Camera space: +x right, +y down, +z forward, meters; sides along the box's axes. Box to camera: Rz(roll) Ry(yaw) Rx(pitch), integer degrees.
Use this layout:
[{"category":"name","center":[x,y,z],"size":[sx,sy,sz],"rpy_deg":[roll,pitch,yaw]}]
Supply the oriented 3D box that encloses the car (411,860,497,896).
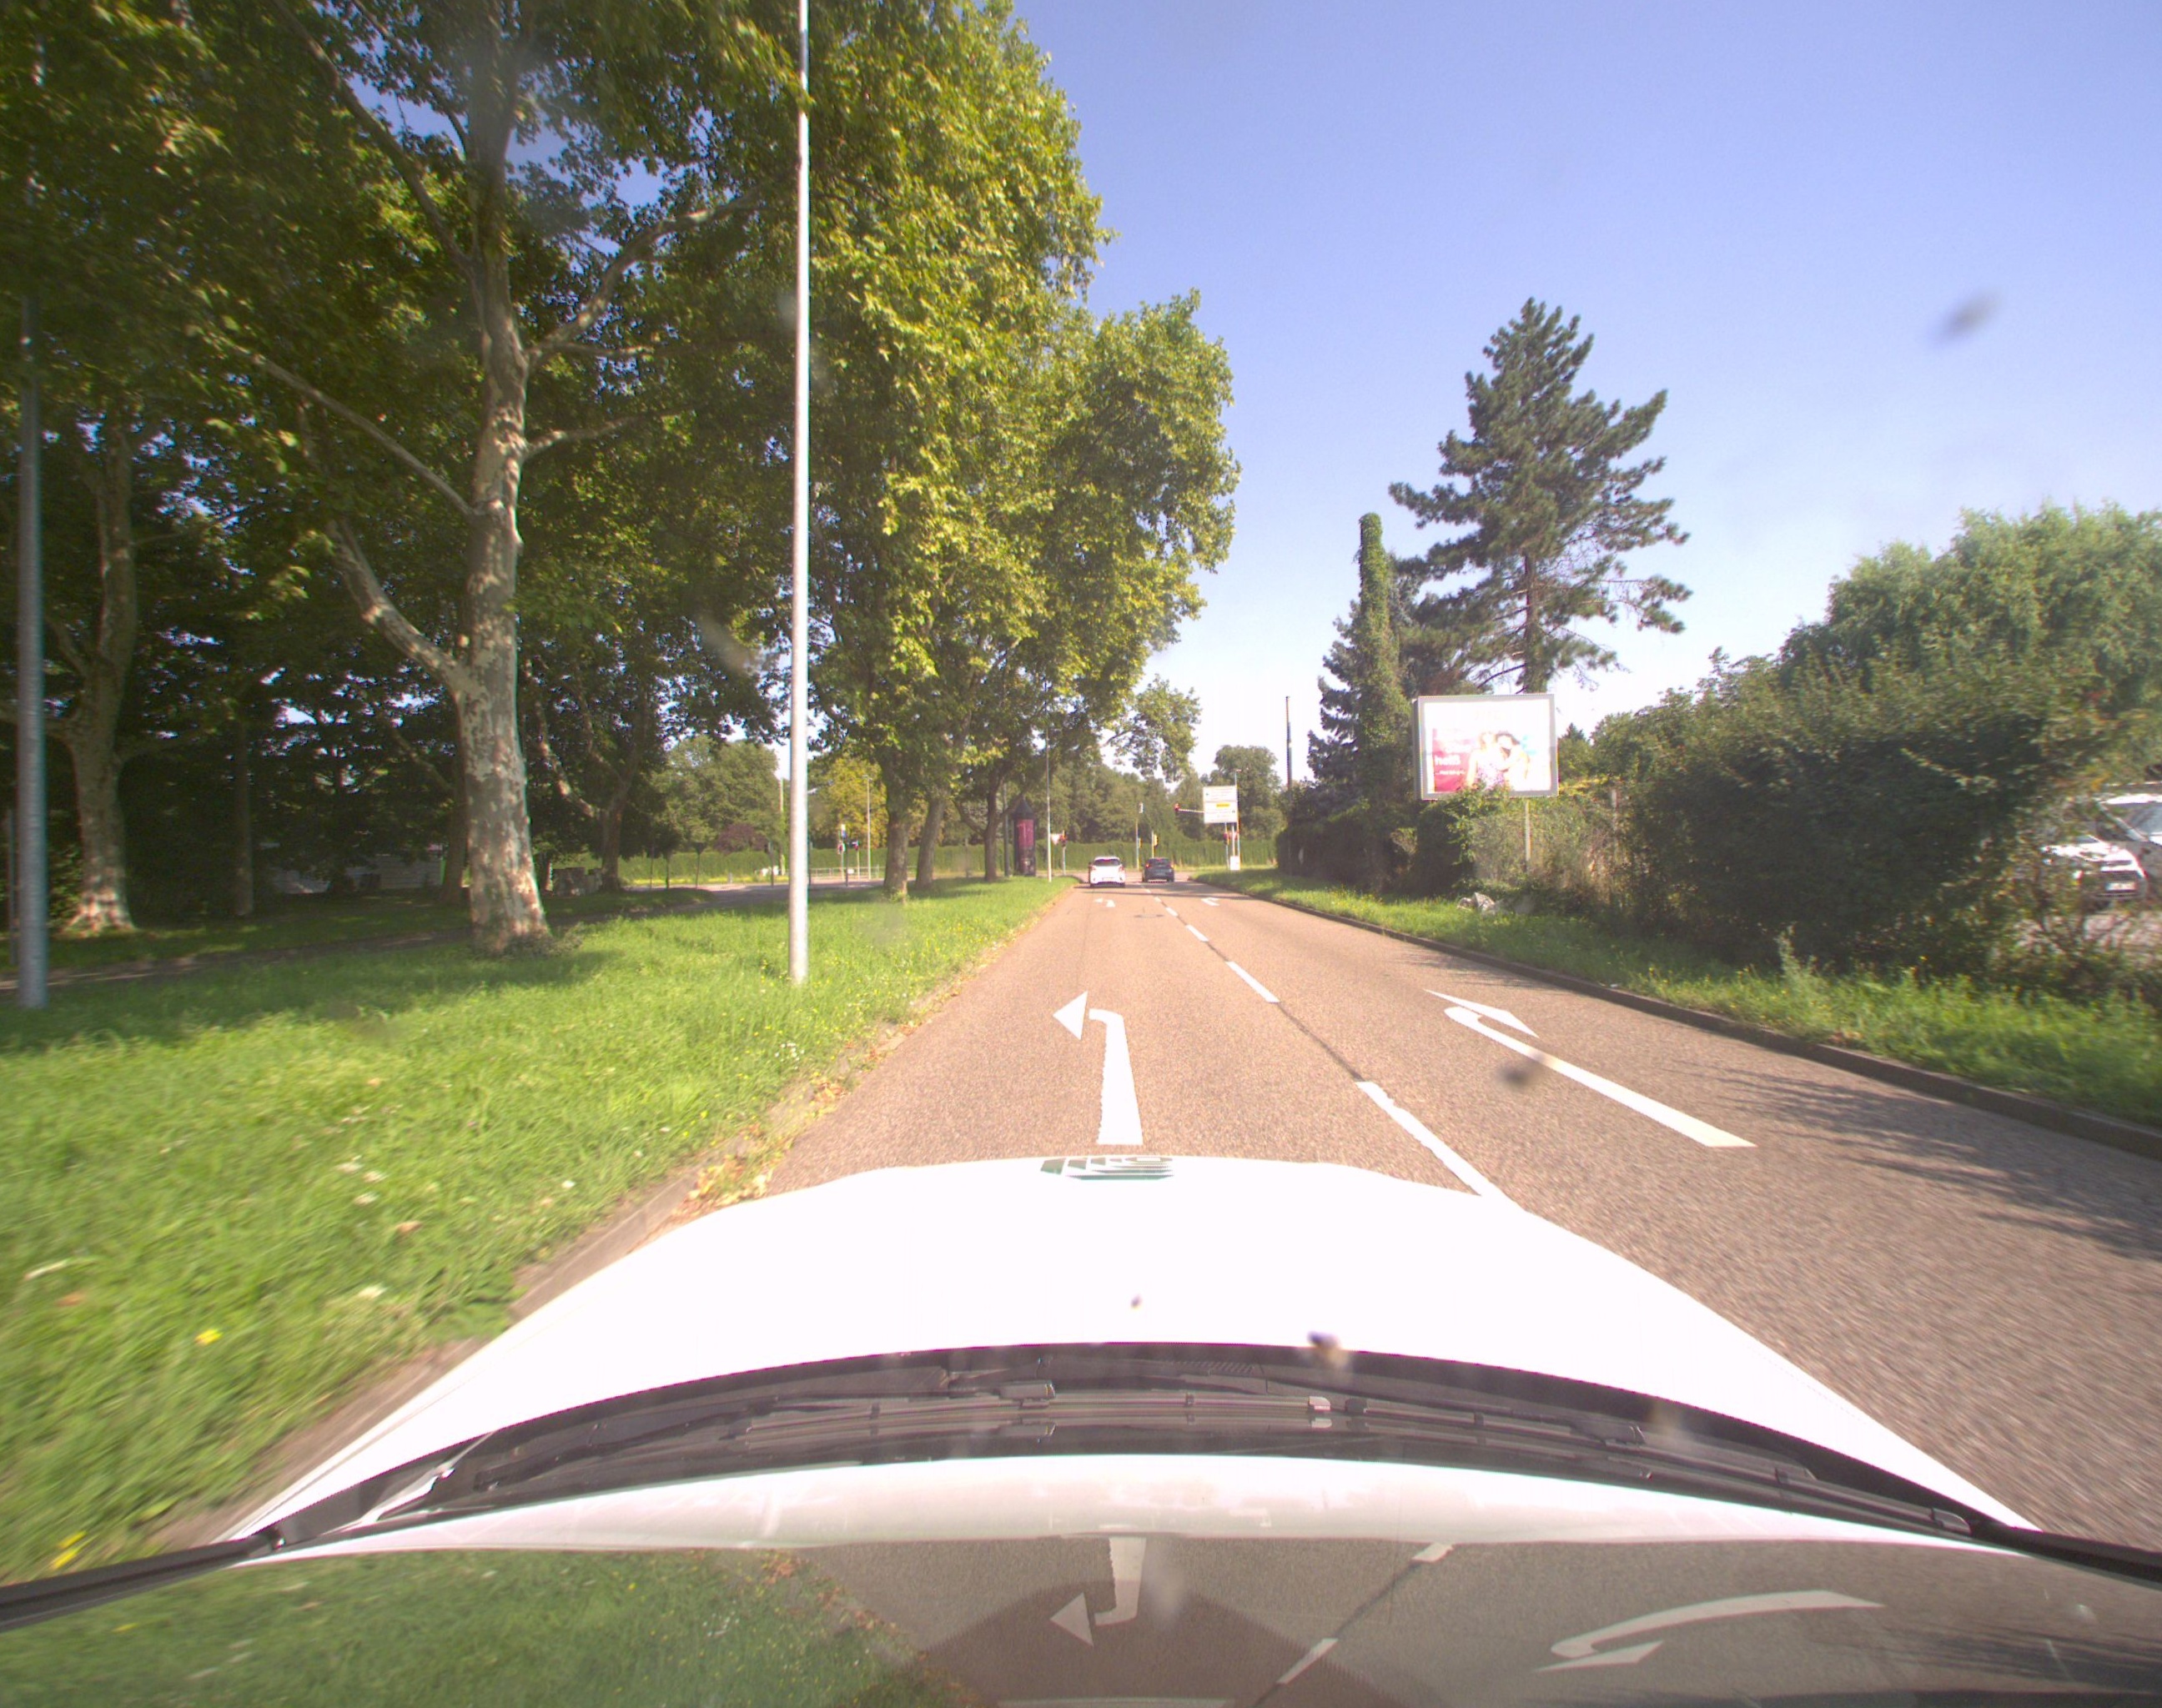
[{"category":"car","center":[-42.661,1.600,55.587],"size":[2.026,2.263,5.117],"rpy_deg":[-1,-1,-3]}]

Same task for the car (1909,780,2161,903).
[{"category":"car","center":[20.271,-0.221,16.701],"size":[1.741,2.223,4.664],"rpy_deg":[-1,-1,-2]}]

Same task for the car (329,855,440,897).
[{"category":"car","center":[-38.282,1.158,44.939],"size":[2.173,2.137,4.705],"rpy_deg":[-2,0,-3]}]

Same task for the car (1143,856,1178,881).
[{"category":"car","center":[4.675,0.872,48.577],"size":[1.791,1.401,4.001],"rpy_deg":[-1,-1,2]}]

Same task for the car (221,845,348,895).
[{"category":"car","center":[-41.950,0.832,43.093],"size":[2.173,2.440,4.705],"rpy_deg":[-2,0,-3]}]

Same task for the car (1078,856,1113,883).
[{"category":"car","center":[0.875,0.895,48.207],"size":[1.679,1.462,3.856],"rpy_deg":[-1,-1,6]}]

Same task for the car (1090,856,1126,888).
[{"category":"car","center":[1.375,0.857,40.089],"size":[1.680,1.462,4.003],"rpy_deg":[-1,-1,3]}]

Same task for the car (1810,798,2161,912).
[{"category":"car","center":[17.512,0.035,16.209],"size":[1.741,1.924,4.664],"rpy_deg":[-1,-1,-2]}]
